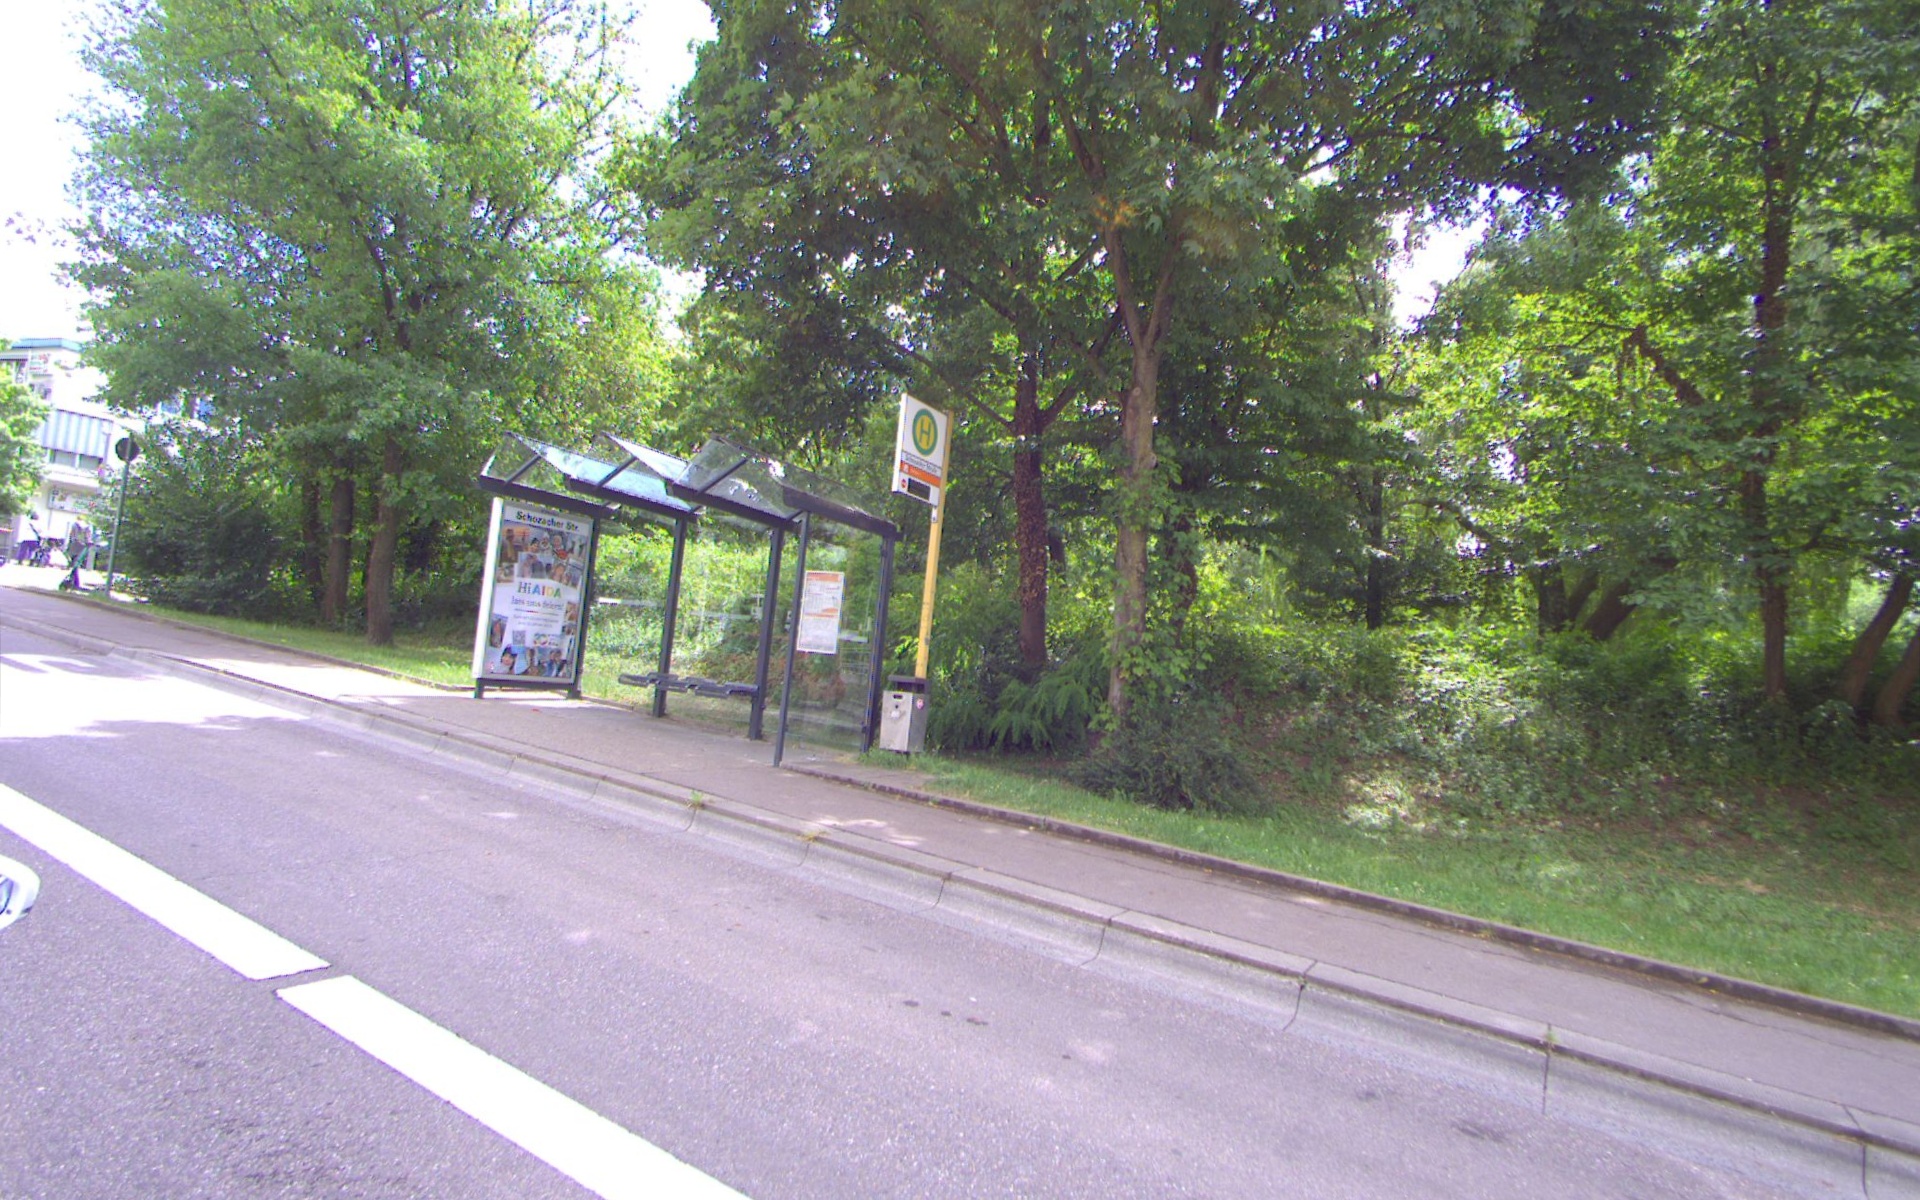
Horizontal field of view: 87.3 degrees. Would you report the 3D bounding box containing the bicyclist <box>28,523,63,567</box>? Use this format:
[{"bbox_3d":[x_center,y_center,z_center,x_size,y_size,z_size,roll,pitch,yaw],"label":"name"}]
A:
[{"bbox_3d":[-26.561,-1.600,29.221,0.392,1.170,0.503,7,-1,14],"label":"bicyclist"}]

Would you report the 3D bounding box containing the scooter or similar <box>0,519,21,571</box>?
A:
[{"bbox_3d":[-24.928,-1.474,25.682,0.546,1.286,1.153,6,-3,34],"label":"scooter or similar"}]

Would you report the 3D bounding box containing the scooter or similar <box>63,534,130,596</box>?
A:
[{"bbox_3d":[-20.125,-0.813,23.454,0.447,1.242,0.893,6,-6,32],"label":"scooter or similar"}]

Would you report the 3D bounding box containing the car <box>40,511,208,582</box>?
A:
[{"bbox_3d":[-32.964,-2.051,39.833,1.964,2.036,4.551,6,-2,24],"label":"car"}]

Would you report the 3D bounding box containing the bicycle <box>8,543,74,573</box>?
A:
[{"bbox_3d":[-26.689,-1.228,29.221,1.560,0.616,0.535,7,-3,12],"label":"bicycle"}]

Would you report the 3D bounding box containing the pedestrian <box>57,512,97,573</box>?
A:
[{"bbox_3d":[-26.485,-1.723,30.180,0.653,1.733,0.458,8,-1,-32],"label":"pedestrian"}]
